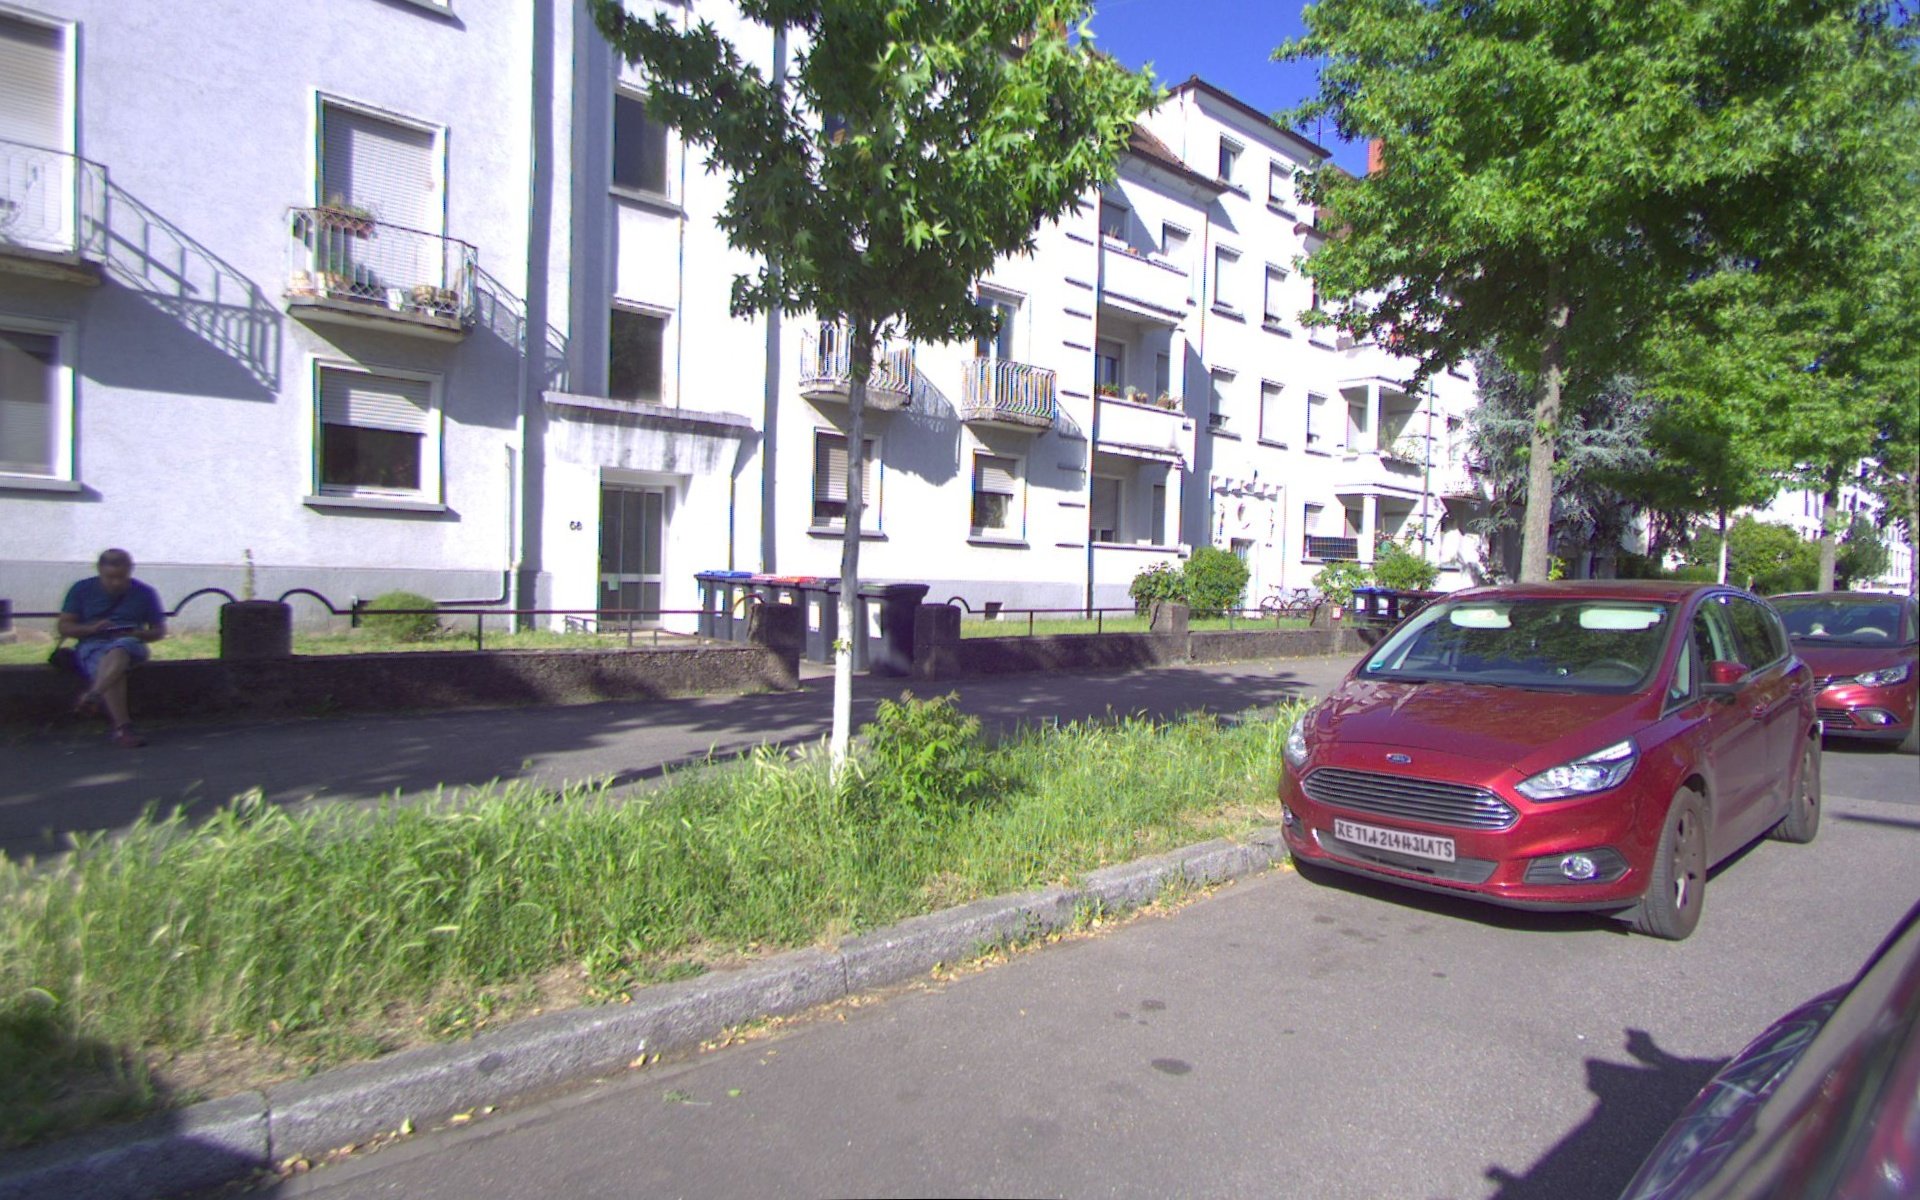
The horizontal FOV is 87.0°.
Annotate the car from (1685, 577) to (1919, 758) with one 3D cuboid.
[{"bbox_3d":[10.151,0.584,11.554,4.513,1.586,1.935,-1,4,-40],"label":"car"}]

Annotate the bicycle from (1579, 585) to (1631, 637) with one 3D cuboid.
[{"bbox_3d":[15.606,0.250,24.460,2.138,1.212,0.490,-1,0,-41],"label":"bicycle"}]

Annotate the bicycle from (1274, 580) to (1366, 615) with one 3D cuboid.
[{"bbox_3d":[8.715,-0.051,24.592,0.615,0.779,2.064,-1,-1,-39],"label":"bicycle"}]

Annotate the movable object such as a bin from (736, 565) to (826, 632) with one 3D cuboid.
[{"bbox_3d":[-2.466,-0.026,13.925,0.991,0.873,0.778,-1,0,-35],"label":"movable object such as a bin"}]

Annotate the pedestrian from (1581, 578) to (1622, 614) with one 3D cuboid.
[{"bbox_3d":[21.147,-0.135,33.351,1.033,1.157,0.705,0,1,44],"label":"pedestrian"}]

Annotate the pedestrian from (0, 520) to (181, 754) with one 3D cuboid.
[{"bbox_3d":[-5.434,0.194,6.338,0.805,1.312,1.083,-1,1,-41],"label":"pedestrian"}]

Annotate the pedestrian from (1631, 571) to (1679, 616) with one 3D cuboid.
[{"bbox_3d":[22.180,-0.226,32.301,1.021,1.395,0.713,2,2,15],"label":"pedestrian"}]

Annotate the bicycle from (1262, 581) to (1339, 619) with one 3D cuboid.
[{"bbox_3d":[9.278,-0.029,27.677,0.548,0.929,2.037,-1,3,-35],"label":"bicycle"}]

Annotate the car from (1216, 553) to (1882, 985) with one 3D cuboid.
[{"bbox_3d":[3.822,0.584,6.114,4.884,1.633,1.903,-1,2,-39],"label":"car"}]

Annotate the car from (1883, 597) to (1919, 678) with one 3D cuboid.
[{"bbox_3d":[18.923,0.669,19.118,3.631,1.415,1.767,-1,1,-40],"label":"car"}]

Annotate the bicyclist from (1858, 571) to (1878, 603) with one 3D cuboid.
[{"bbox_3d":[38.637,-0.563,43.066,0.706,1.354,0.497,-1,4,-40],"label":"bicyclist"}]

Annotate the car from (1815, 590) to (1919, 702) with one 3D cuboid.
[{"bbox_3d":[14.510,0.617,15.260,4.411,1.424,1.715,-1,4,-40],"label":"car"}]

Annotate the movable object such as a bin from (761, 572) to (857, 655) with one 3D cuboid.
[{"bbox_3d":[-1.978,0.160,13.228,0.991,1.039,0.778,-1,0,-36],"label":"movable object such as a bin"}]

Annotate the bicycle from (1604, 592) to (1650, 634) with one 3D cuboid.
[{"bbox_3d":[17.345,0.324,26.304,2.211,1.025,0.432,-1,-3,-43],"label":"bicycle"}]

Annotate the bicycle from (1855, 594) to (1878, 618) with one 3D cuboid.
[{"bbox_3d":[38.549,0.252,43.041,1.756,0.973,0.459,-1,4,-41],"label":"bicycle"}]
